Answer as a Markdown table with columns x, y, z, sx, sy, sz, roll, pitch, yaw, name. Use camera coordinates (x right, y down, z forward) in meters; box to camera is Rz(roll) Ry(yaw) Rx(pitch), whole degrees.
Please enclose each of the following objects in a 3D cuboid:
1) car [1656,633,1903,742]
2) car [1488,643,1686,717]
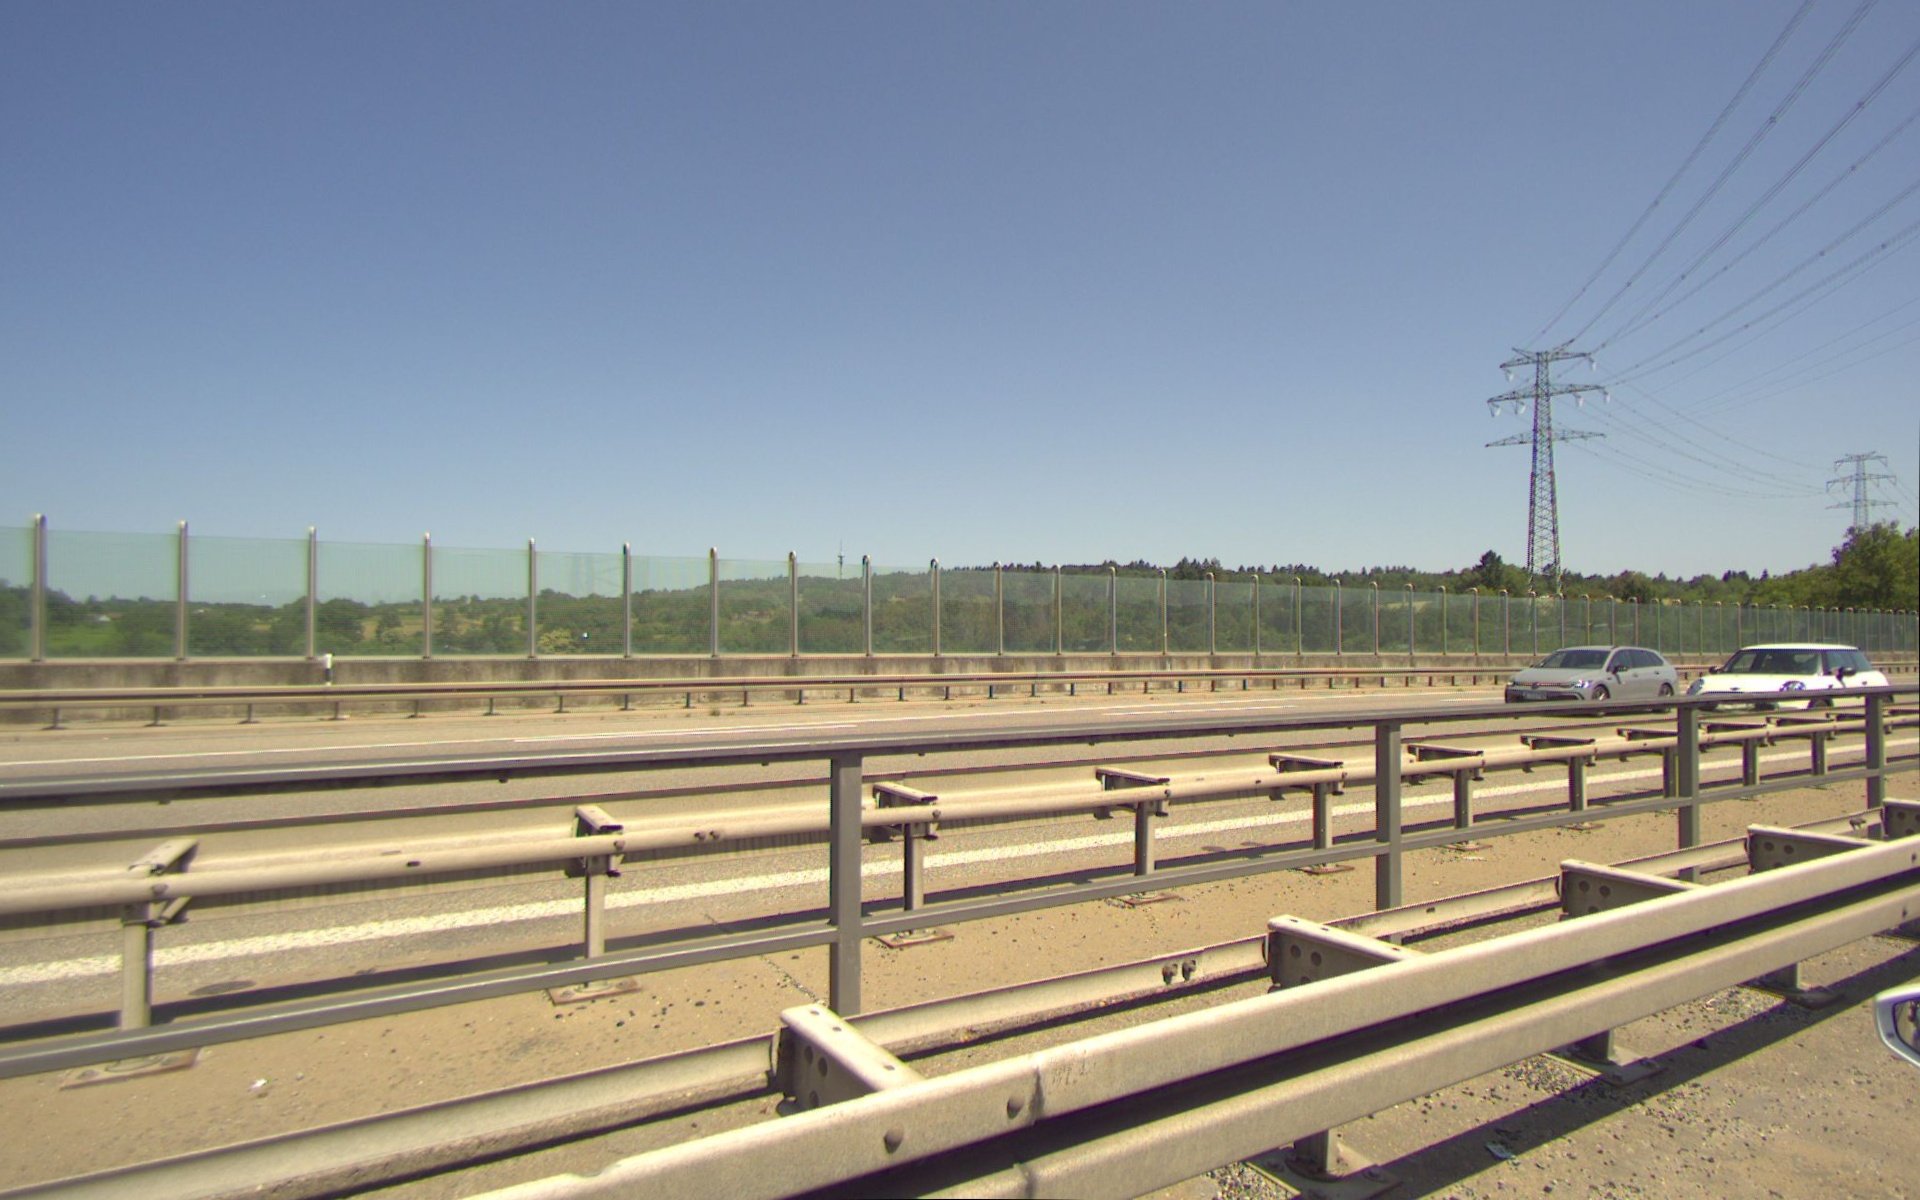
| x | y | z | sx | sy | sz | roll | pitch | yaw | name |
| --- | --- | --- | --- | --- | --- | --- | --- | --- | --- |
| 13.103 | 1.389 | 16.049 | 3.567 | 1.549 | 1.864 | 2 | -7 | -31 | car |
| 13.586 | 1.685 | 21.715 | 4.335 | 1.461 | 1.863 | 2 | -3 | -31 | car |
